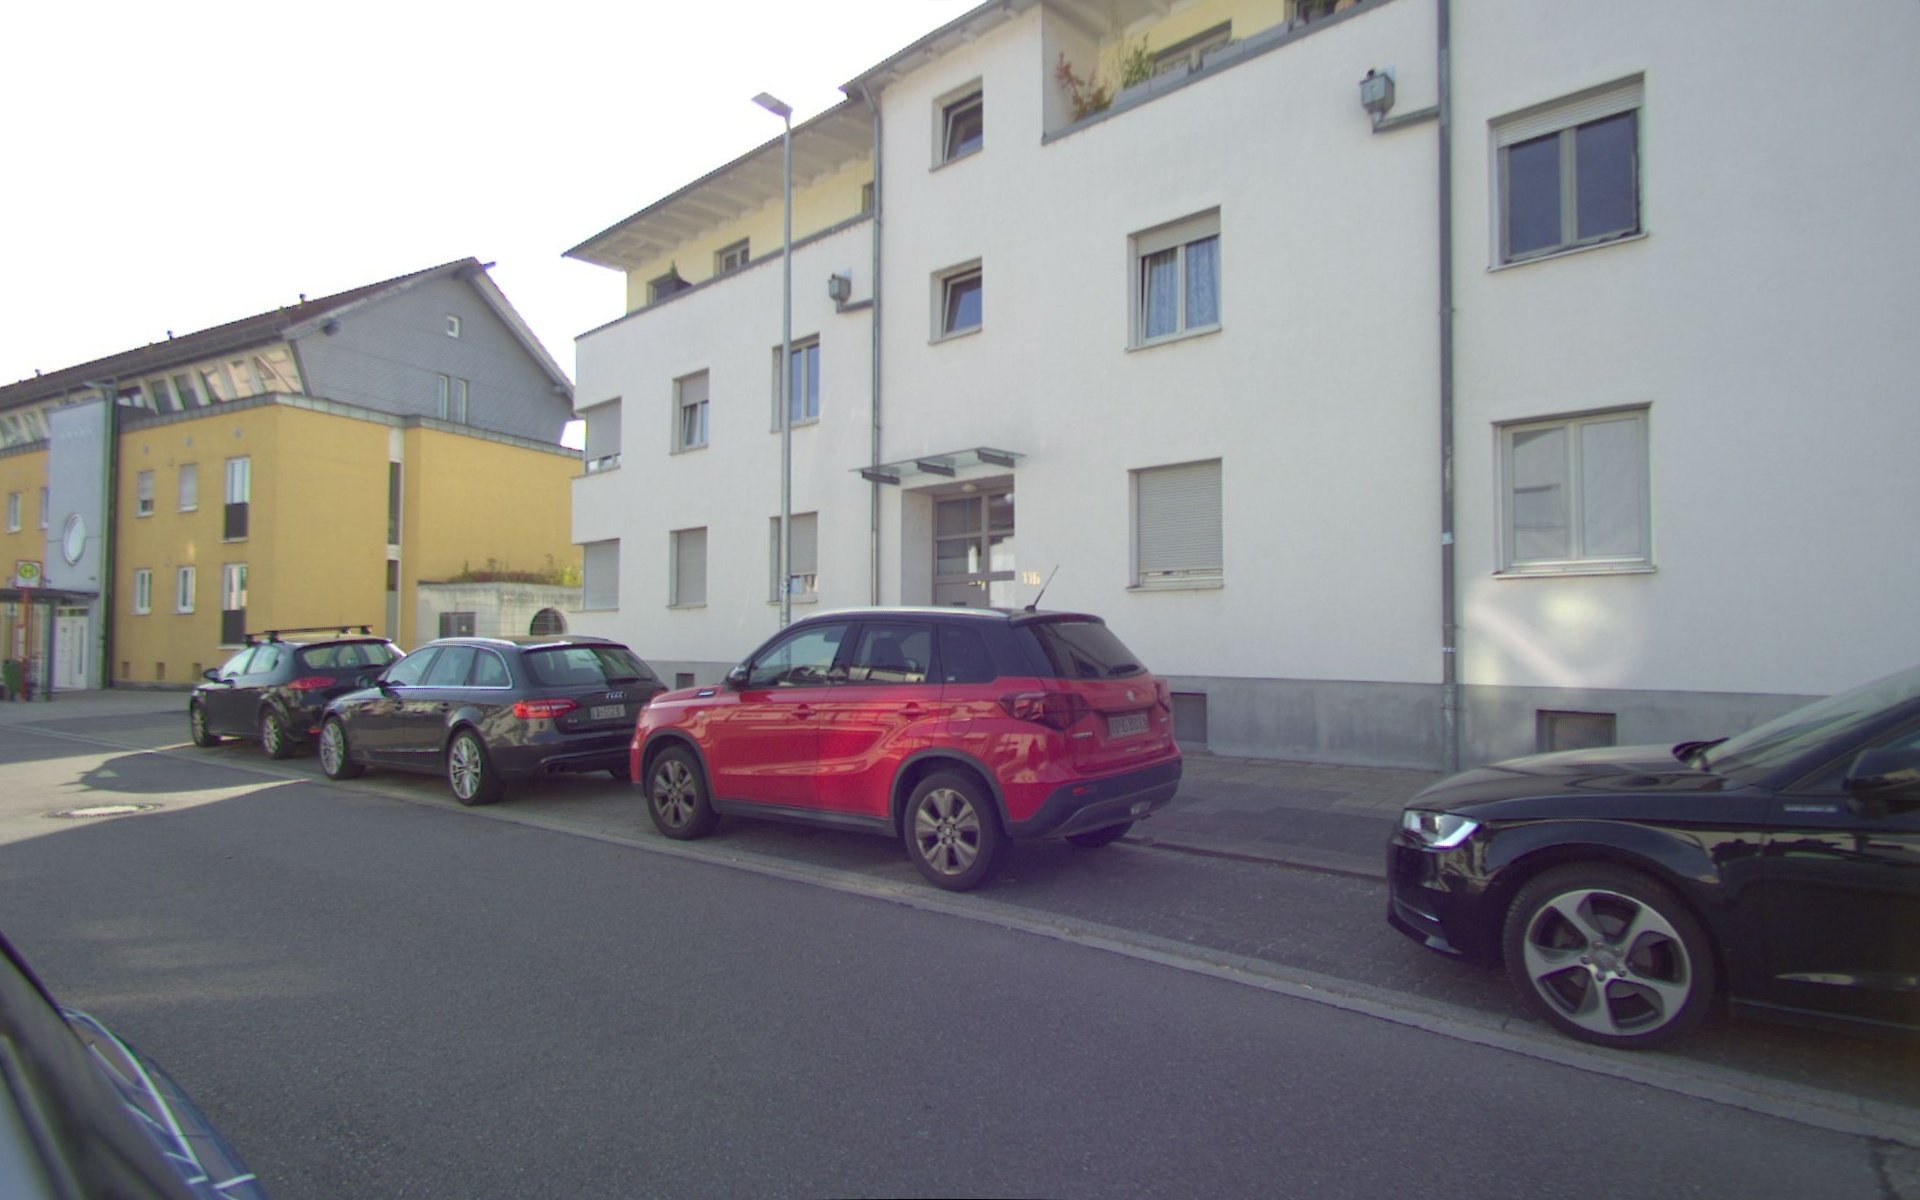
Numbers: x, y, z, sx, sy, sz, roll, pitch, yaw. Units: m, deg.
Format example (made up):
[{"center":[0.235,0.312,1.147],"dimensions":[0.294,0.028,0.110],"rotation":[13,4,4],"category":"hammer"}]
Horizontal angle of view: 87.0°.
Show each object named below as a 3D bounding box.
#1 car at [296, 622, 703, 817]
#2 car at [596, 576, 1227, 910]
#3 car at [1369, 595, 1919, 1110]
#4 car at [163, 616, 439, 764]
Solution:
[{"center":[-4.673,1.008,9.977],"dimensions":[4.494,1.489,1.711],"rotation":[-2,-1,37],"category":"car"},{"center":[-0.537,0.783,6.965],"dimensions":[4.257,1.634,1.711],"rotation":[-2,-3,38],"category":"car"},{"center":[3.778,0.734,3.256],"dimensions":[4.257,1.489,1.711],"rotation":[-2,-2,38],"category":"car"},{"center":[-8.888,1.096,13.541],"dimensions":[4.170,1.634,1.759],"rotation":[-2,0,37],"category":"car"}]
